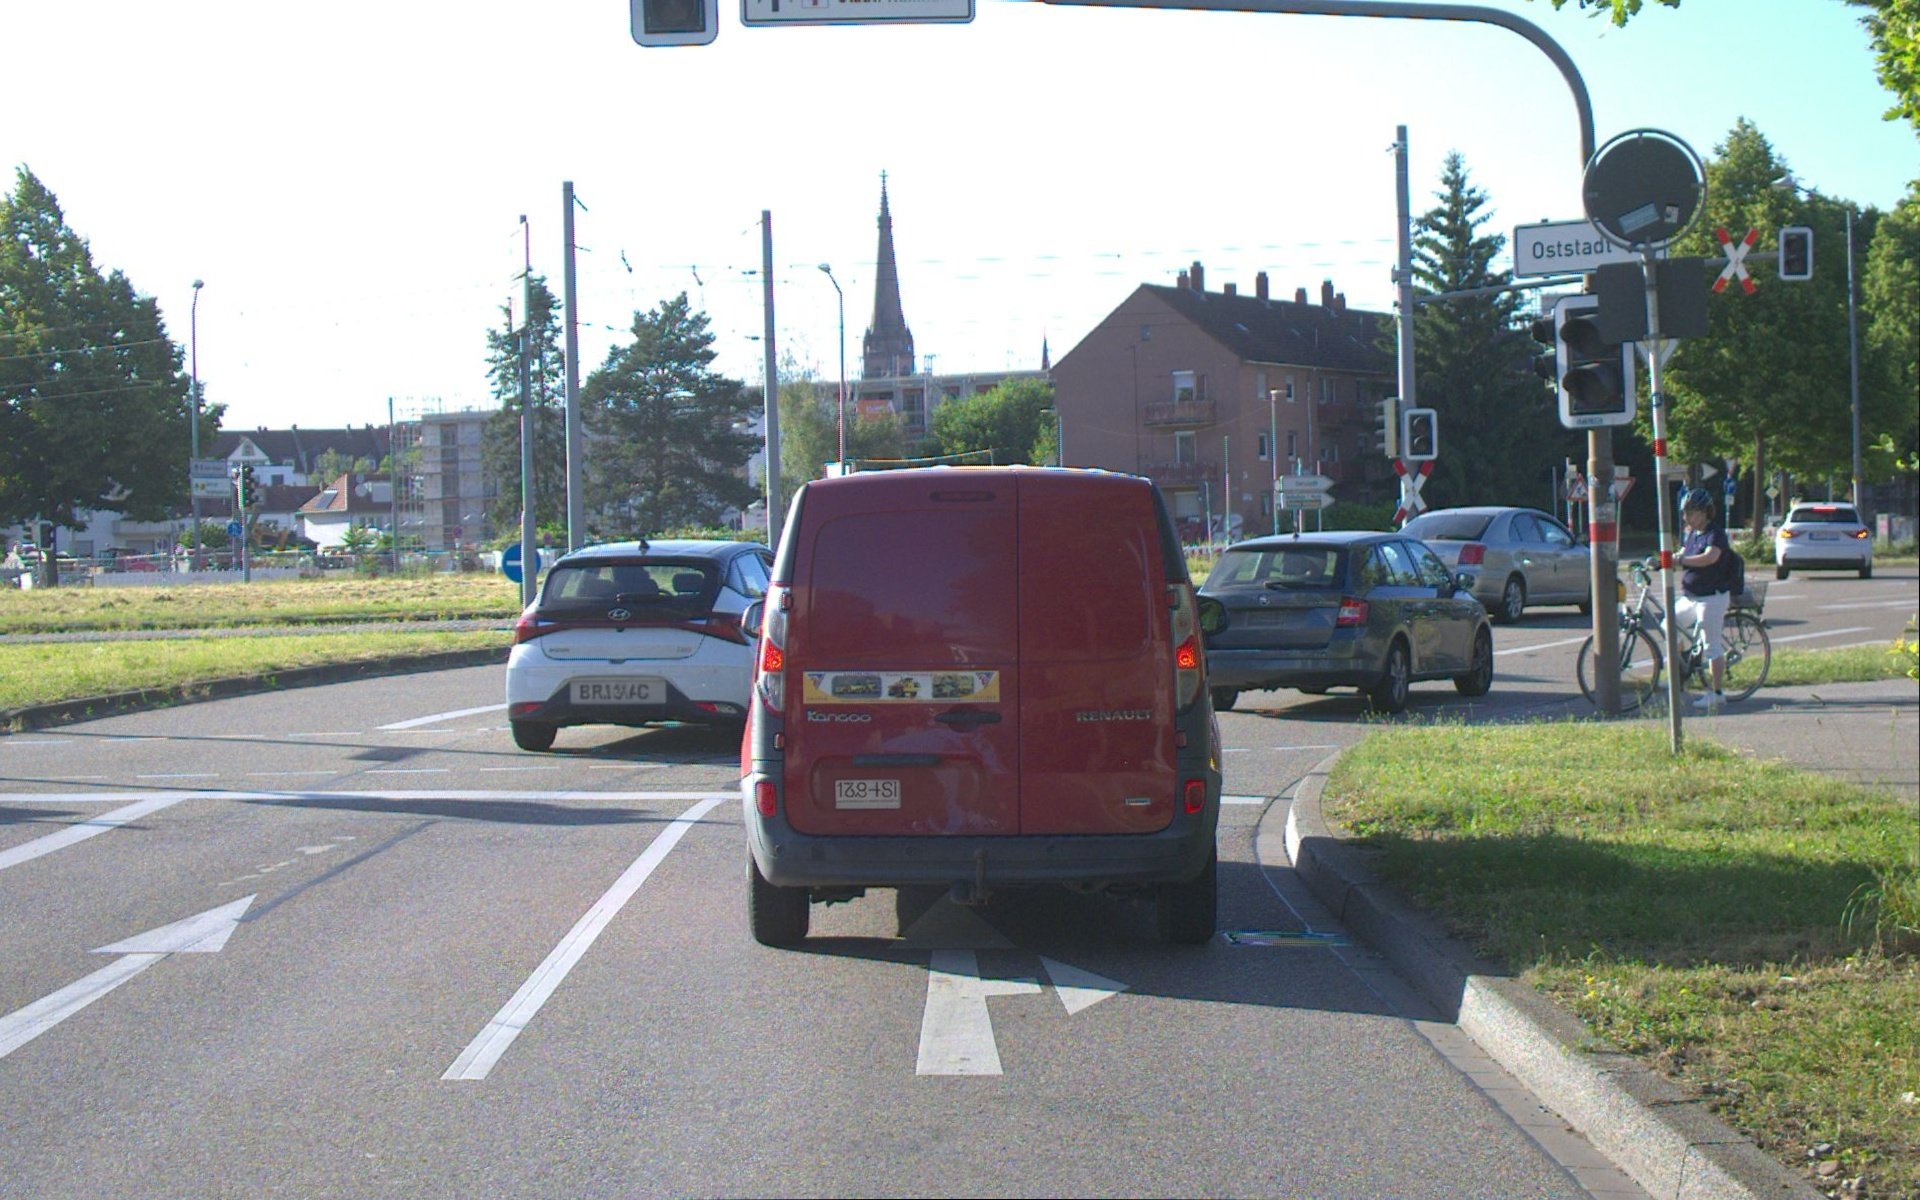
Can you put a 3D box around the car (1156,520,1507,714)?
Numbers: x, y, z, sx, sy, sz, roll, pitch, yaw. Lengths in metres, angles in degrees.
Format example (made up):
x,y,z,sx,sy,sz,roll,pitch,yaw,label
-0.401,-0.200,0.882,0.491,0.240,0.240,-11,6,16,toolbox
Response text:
x,y,z,sx,sy,sz,roll,pitch,yaw,label
3.177,0.081,28.693,1.716,1.431,4.147,2,2,24,car

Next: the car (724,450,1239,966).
x,y,z,sx,sy,sz,roll,pitch,yaw,label
0.094,0.349,13.987,1.802,1.807,3.809,0,1,1,car

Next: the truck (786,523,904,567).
x,y,z,sx,sy,sz,roll,pitch,yaw,label
-5.524,-2.612,163.734,2.165,2.007,6.434,0,0,-39,truck

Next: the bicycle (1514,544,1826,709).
x,y,z,sx,sy,sz,roll,pitch,yaw,label
5.496,0.200,26.590,2.209,1.151,0.876,-3,0,-23,bicycle

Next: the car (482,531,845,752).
x,y,z,sx,sy,sz,roll,pitch,yaw,label
-2.049,0.244,24.813,1.803,1.456,3.808,0,1,8,car

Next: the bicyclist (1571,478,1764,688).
x,y,z,sx,sy,sz,roll,pitch,yaw,label
5.463,-0.128,26.575,1.084,1.556,0.876,-3,0,-23,bicyclist

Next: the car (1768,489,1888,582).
x,y,z,sx,sy,sz,roll,pitch,yaw,label
16.253,-1.233,64.235,1.995,1.633,4.405,-1,2,16,car

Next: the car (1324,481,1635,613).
x,y,z,sx,sy,sz,roll,pitch,yaw,label
6.793,-0.704,44.605,1.998,1.569,4.398,0,2,39,car
